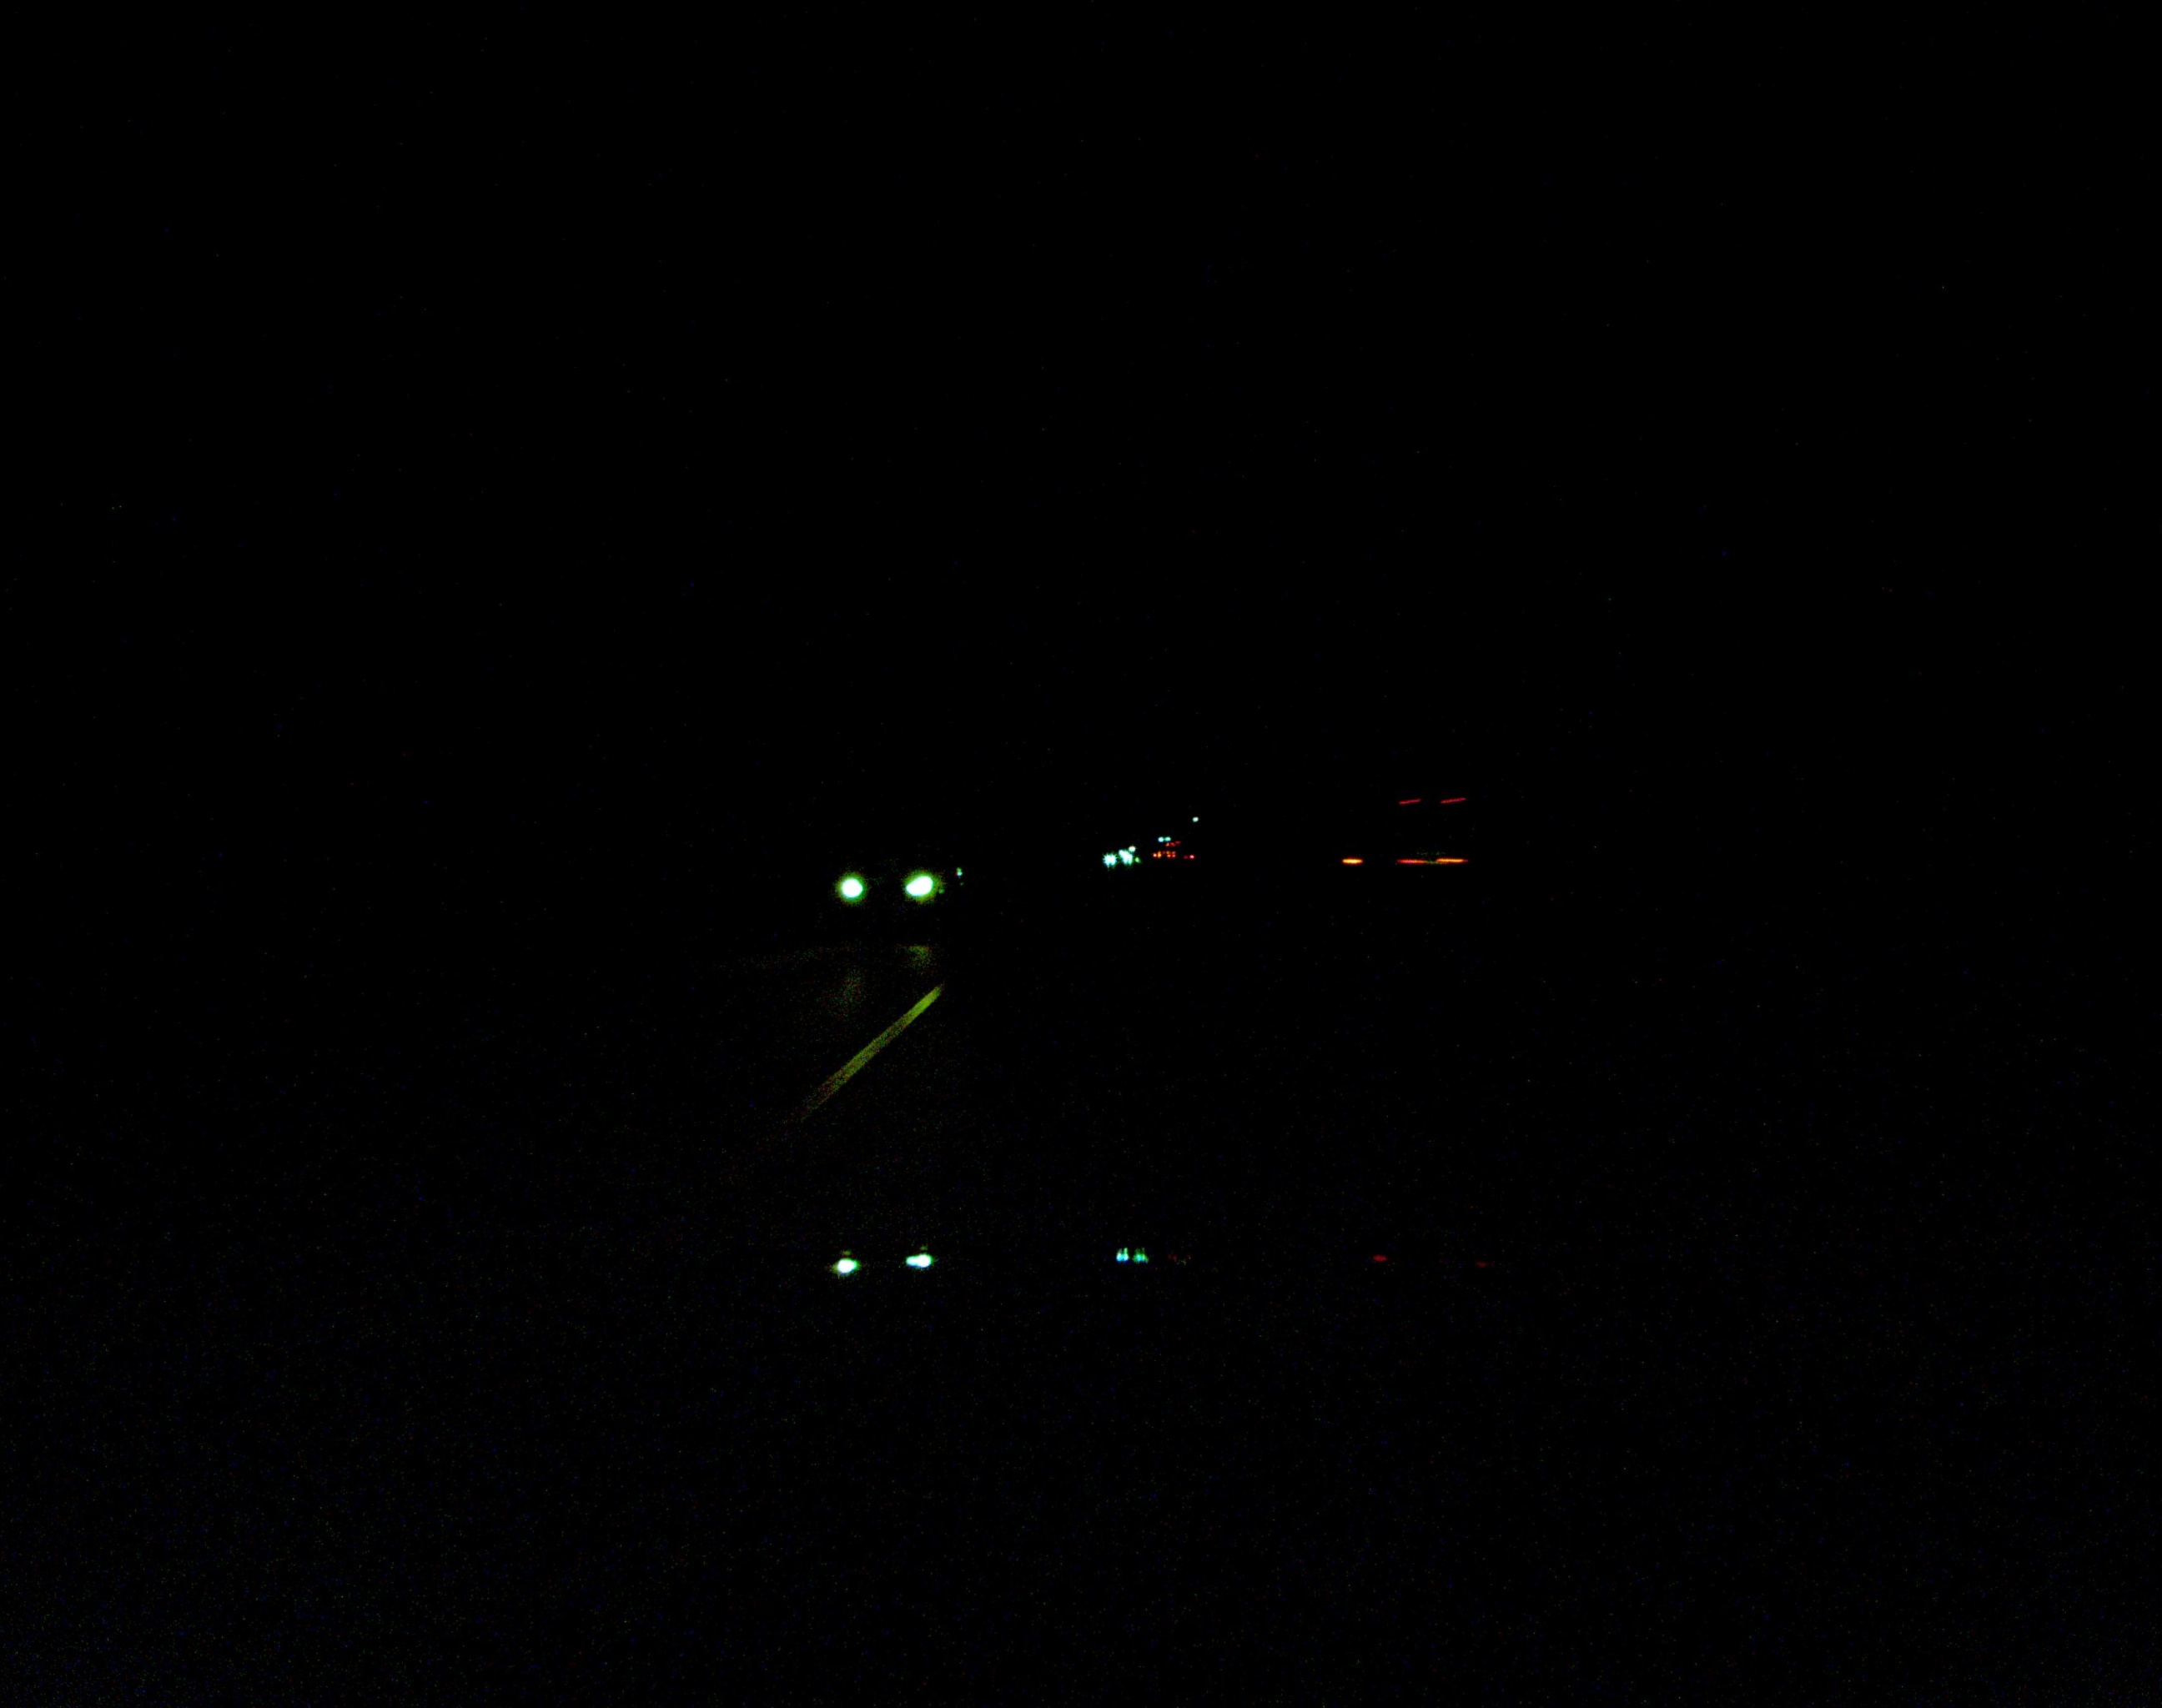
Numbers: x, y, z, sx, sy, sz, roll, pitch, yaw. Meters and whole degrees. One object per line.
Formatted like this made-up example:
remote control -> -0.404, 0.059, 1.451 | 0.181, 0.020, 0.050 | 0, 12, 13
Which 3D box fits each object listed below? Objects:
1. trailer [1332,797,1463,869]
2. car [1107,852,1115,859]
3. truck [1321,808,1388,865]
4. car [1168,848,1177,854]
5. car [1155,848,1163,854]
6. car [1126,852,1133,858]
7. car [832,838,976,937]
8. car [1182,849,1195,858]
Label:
trailer -> 20.021, -1.191, 49.460 | 2.861, 3.957, 13.886 | -2, 0, 1
car -> 8.218, 0.390, 207.694 | 1.999, 1.762, 3.998 | -2, 2, 0
truck -> 20.129, -1.228, 56.322 | 2.861, 3.957, 5.860 | -2, 0, 1
car -> 24.682, -0.827, 205.042 | 2.015, 1.459, 4.209 | -2, 0, 3
car -> 21.900, -0.777, 213.702 | 2.015, 1.660, 4.483 | -2, 0, 3
car -> 15.952, 0.269, 252.235 | 1.999, 1.735, 3.998 | -2, 2, 0
car -> -4.052, 0.681, 18.584 | 2.121, 1.989, 5.663 | -2, 1, 0
car -> 21.238, -0.138, 150.253 | 2.015, 1.660, 4.949 | -2, 0, 3
